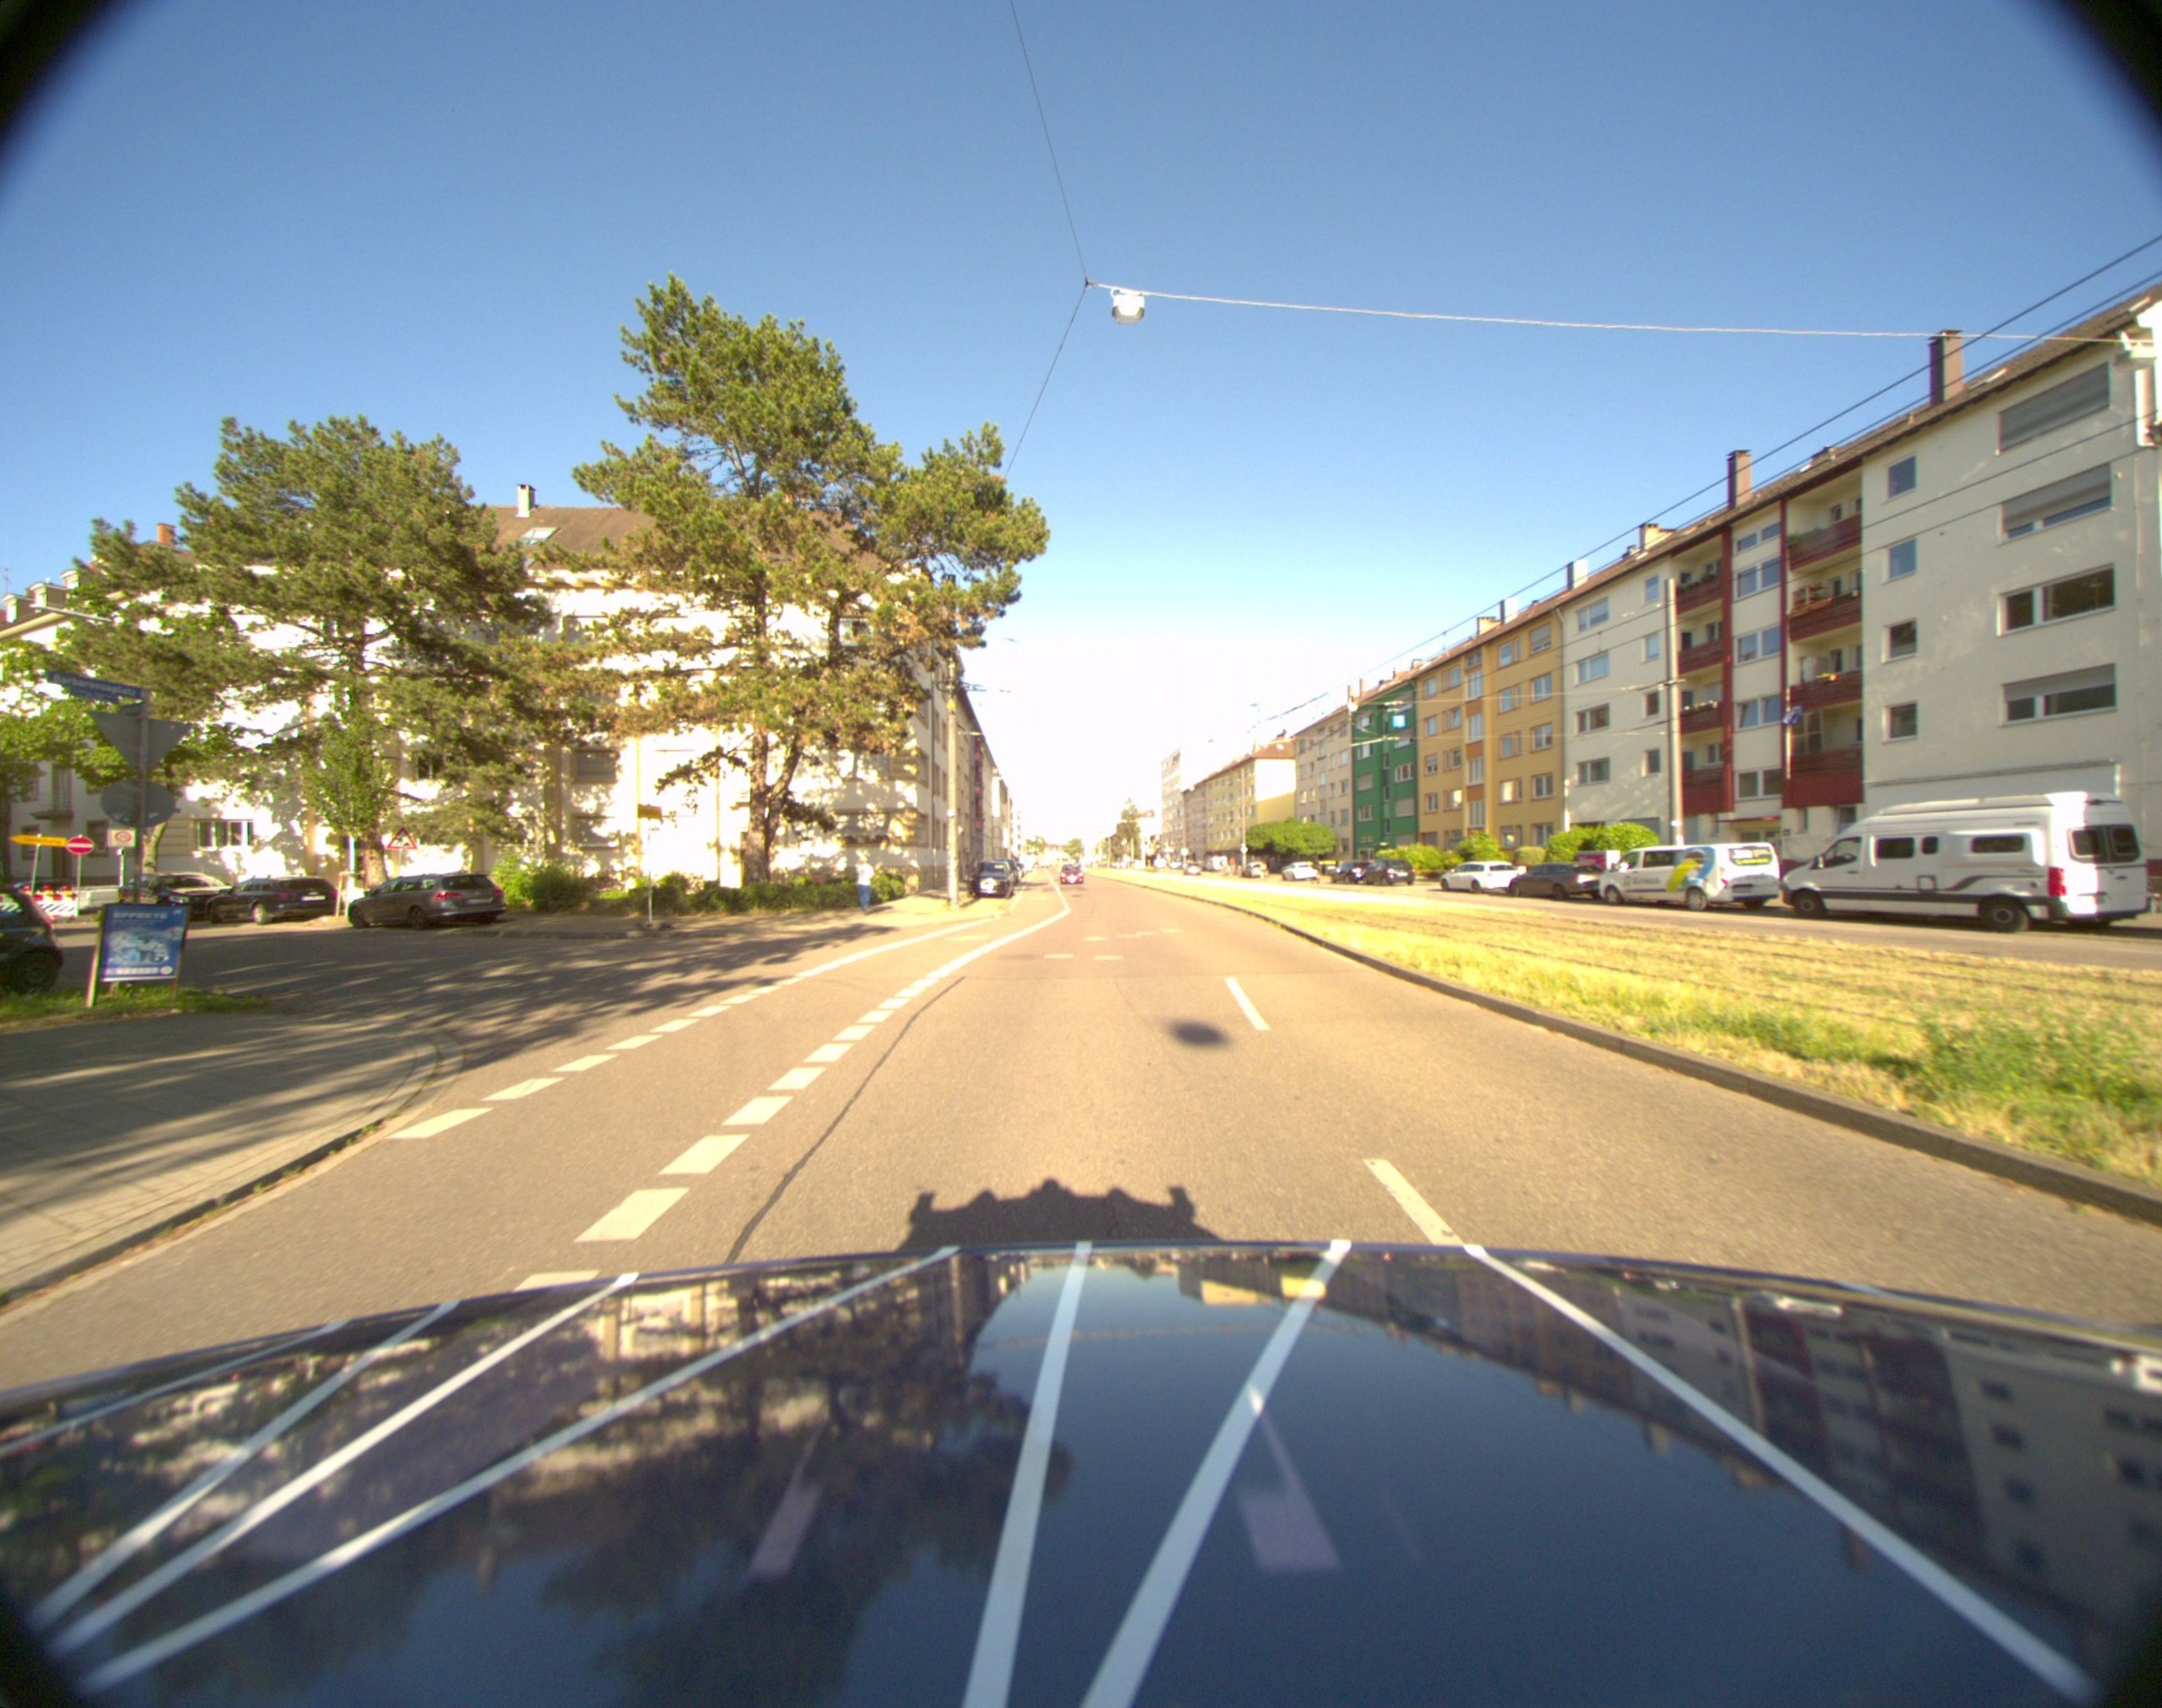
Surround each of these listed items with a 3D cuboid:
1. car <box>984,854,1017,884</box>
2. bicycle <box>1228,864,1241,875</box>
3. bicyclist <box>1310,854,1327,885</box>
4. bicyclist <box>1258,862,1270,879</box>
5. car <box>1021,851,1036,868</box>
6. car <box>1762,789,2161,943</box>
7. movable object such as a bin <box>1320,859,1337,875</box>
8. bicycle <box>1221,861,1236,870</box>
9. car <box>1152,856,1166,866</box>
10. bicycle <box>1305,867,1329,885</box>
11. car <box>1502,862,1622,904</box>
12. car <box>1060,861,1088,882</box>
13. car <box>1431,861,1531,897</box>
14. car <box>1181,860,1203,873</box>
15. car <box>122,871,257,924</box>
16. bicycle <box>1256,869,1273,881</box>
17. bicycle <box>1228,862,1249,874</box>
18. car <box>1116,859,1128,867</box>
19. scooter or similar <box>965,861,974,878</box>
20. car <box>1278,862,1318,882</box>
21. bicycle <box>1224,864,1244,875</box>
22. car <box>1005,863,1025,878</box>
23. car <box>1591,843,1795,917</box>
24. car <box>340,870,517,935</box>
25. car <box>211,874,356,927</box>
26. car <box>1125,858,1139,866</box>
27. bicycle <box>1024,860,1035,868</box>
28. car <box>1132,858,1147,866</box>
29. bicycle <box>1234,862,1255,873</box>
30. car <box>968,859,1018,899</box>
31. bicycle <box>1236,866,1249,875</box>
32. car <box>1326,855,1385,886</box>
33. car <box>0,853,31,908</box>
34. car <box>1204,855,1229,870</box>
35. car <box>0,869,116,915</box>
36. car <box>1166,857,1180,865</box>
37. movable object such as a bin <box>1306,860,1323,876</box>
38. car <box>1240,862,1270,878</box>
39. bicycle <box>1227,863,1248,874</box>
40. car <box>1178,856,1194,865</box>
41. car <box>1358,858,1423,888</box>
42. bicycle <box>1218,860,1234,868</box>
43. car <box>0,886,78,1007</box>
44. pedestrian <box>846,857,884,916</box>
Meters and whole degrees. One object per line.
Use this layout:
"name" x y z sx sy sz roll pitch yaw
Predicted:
"car" -5.410 0.996 51.842 1.918 1.888 5.133 2 0 -3
"bicycle" 16.149 1.664 79.882 0.511 1.086 1.934 -3 0 -14
"bicyclist" 16.013 1.035 51.222 0.775 2.002 0.648 -3 0 -3
"bicyclist" 14.902 1.362 61.744 0.775 1.376 0.648 -1 0 -3
"car" -8.536 0.942 124.066 2.157 2.680 6.290 1 0 -3
"car" 19.679 0.238 17.575 2.038 2.852 6.227 -2 0 -2
"movable object such as a bin" 22.654 1.181 69.486 1.150 1.360 1.039 -3 1 0
"bicycle" 20.177 1.566 103.833 1.824 1.099 0.390 -3 0 -3
"car" 16.707 1.530 162.856 1.999 1.887 4.668 -3 0 -5
"bicycle" 15.878 1.477 51.175 0.770 1.139 2.474 1 0 -3
"car" 18.981 1.089 30.229 1.699 1.506 4.324 -2 0 -6
"car" -0.541 1.194 53.963 1.863 1.461 3.808 0 0 -3
"car" 18.721 1.125 35.842 1.898 1.483 4.701 -3 0 -5
"car" 12.353 1.406 84.865 1.699 1.439 4.216 0 0 -2
"car" -30.429 1.466 25.950 3.903 1.701 1.772 -2 -1 21
"bicycle" 14.905 1.710 61.770 0.770 0.874 2.068 1 0 -3
"bicycle" 17.050 1.505 82.215 2.052 1.086 0.616 -3 0 3
"car" 8.487 1.855 158.621 1.862 1.541 4.239 1 -1 -5
"scooter or similar" -8.356 1.169 56.759 0.460 1.231 1.338 3 0 -2
"car" 17.333 1.416 60.888 1.733 1.446 4.375 -2 0 -3
"bicycle" 17.094 1.716 84.901 2.052 1.086 0.616 -3 0 3
"car" -6.171 1.534 71.011 1.707 1.268 4.302 3 0 -4
"car" 19.349 0.744 24.470 2.038 2.009 5.369 -3 0 -2
"car" -17.861 1.273 20.818 4.295 1.493 1.771 0 3 21
"car" -25.130 1.412 23.951 3.903 1.461 1.772 0 0 21
"car" 9.680 1.556 144.040 1.789 1.519 4.412 0 -1 -8
"bicycle" -8.079 1.553 118.890 2.023 1.080 0.487 -3 0 45
"car" 10.574 1.442 137.534 1.839 1.376 4.412 0 -1 -9
"bicycle" 17.439 1.442 80.969 2.050 1.086 0.616 -3 0 24
"car" -4.106 1.120 36.231 1.884 1.707 4.933 2 0 -2
"bicycle" 17.040 1.747 80.119 0.377 0.860 2.052 -3 0 -14
"car" 18.101 1.039 50.336 1.999 1.827 4.608 -3 0 -3
"car" -50.906 1.342 34.628 5.307 2.428 2.129 -3 0 20
"car" 19.578 1.190 109.790 1.999 1.938 5.498 -3 0 -6
"car" -41.945 1.561 31.095 3.992 1.601 1.802 -3 0 20
"car" 16.981 1.296 140.713 1.763 1.477 4.198 -3 0 -3
"movable object such as a bin" 21.359 1.311 69.434 1.150 1.360 1.039 -3 1 0
"car" 16.829 1.554 73.698 1.640 1.433 3.732 -3 0 -5
"bicycle" 17.077 1.574 82.984 2.052 1.086 0.616 -3 0 3
"car" 18.184 1.142 132.123 1.788 1.377 4.413 -3 0 -5
"car" 18.405 1.090 45.405 1.999 1.598 4.150 -3 0 -3
"bicycle" 20.182 1.399 105.712 2.103 1.099 0.472 -3 0 -3
"car" -14.180 1.169 8.445 1.642 1.485 3.804 0 0 -14
"pedestrian" -6.373 0.943 22.435 0.882 1.712 0.725 0 0 3
